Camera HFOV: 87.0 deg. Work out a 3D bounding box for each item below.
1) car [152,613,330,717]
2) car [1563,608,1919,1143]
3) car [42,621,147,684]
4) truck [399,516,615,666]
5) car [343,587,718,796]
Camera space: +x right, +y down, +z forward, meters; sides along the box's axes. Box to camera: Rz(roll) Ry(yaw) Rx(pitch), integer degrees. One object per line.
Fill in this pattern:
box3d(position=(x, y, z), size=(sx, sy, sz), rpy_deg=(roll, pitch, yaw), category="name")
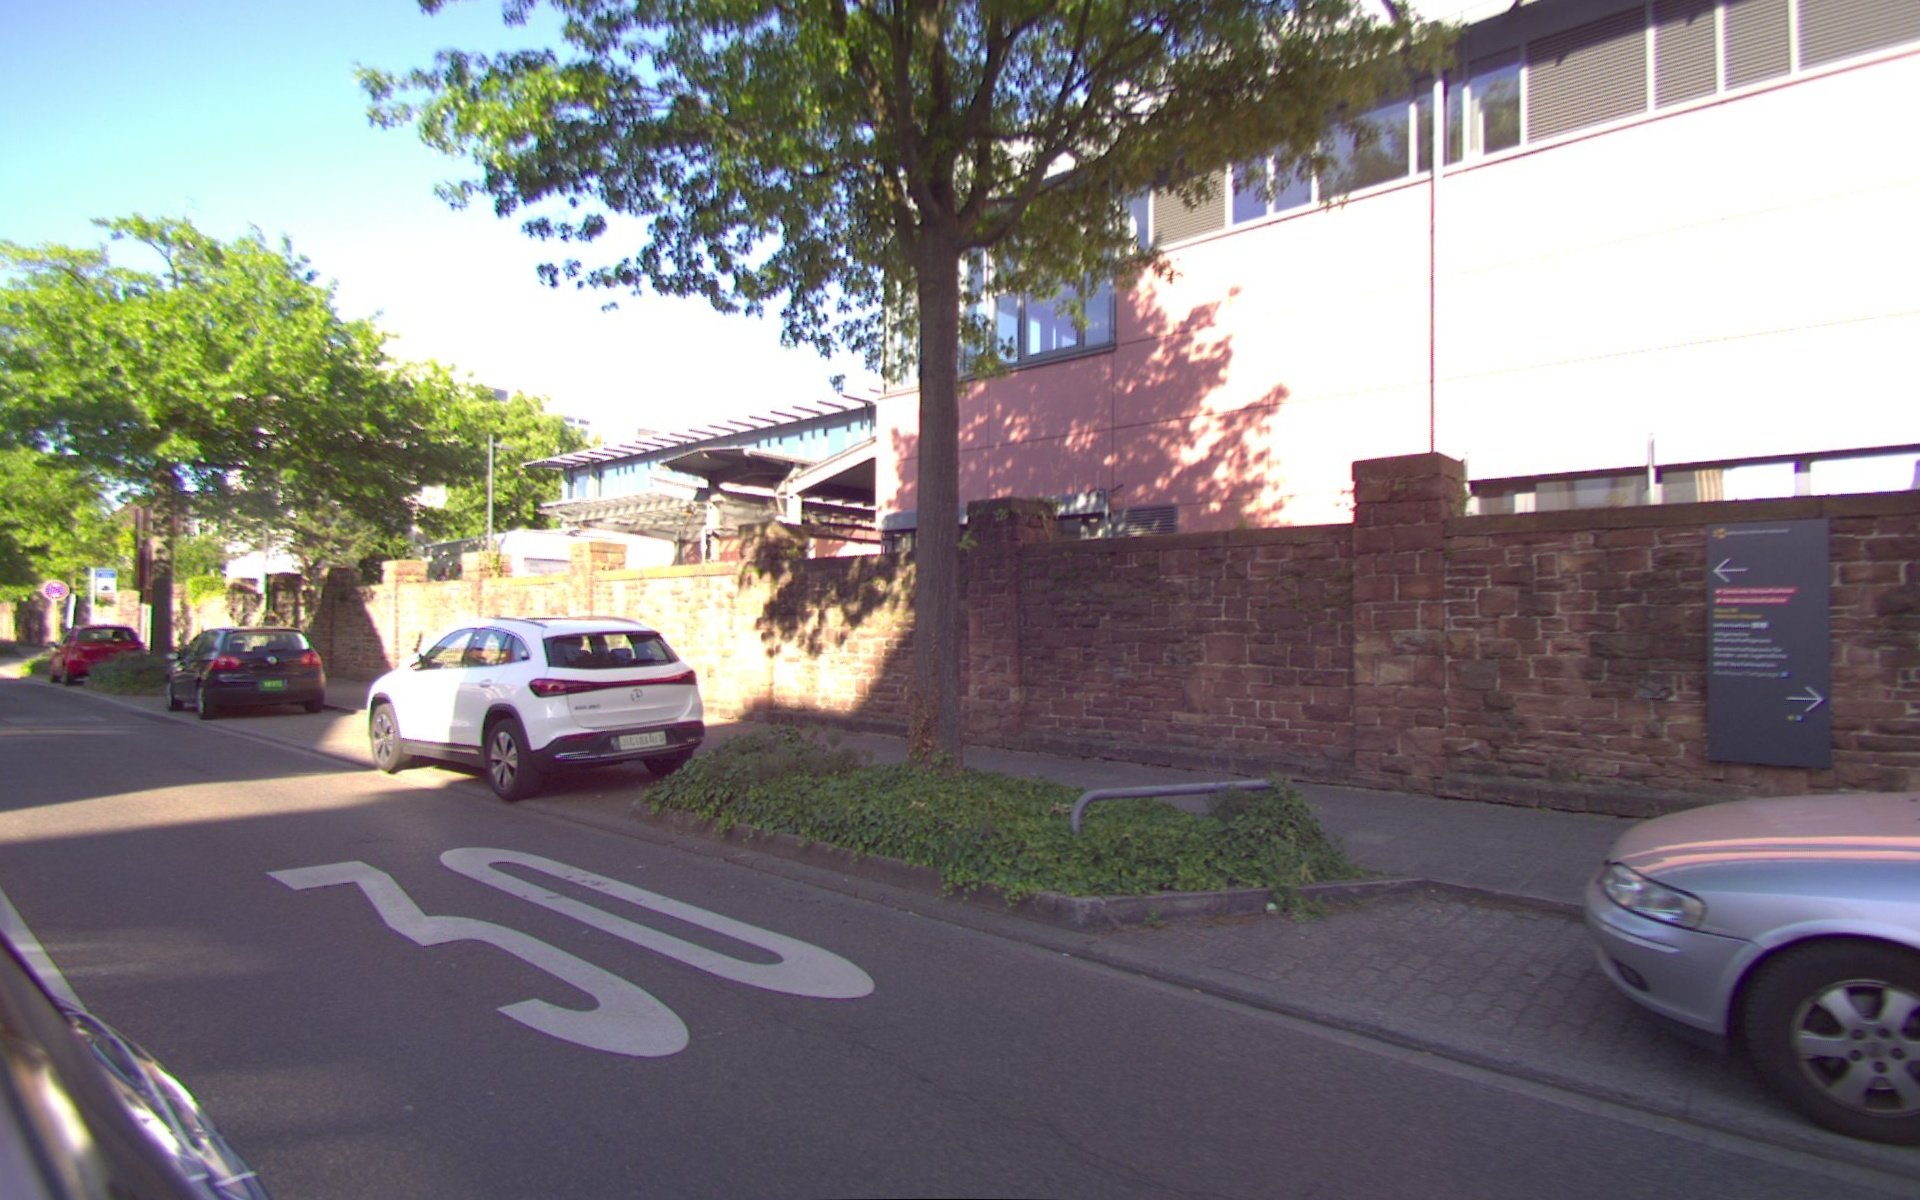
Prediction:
box3d(position=(-12.611, 1.040, 17.659), size=(4.106, 1.604, 1.718), rpy_deg=(-1, -2, 43), category="car")
box3d(position=(4.303, 0.770, 2.623), size=(4.476, 1.487, 1.708), rpy_deg=(-1, 0, 41), category="car")
box3d(position=(-22.490, 1.297, 26.260), size=(3.707, 1.470, 1.592), rpy_deg=(-1, 0, 42), category="car")
box3d(position=(-13.012, -0.184, 28.707), size=(7.424, 3.739, 2.704), rpy_deg=(-1, 0, 41), category="truck")
box3d(position=(-4.491, 0.788, 10.273), size=(4.347, 1.696, 1.703), rpy_deg=(-1, -2, 40), category="car")
